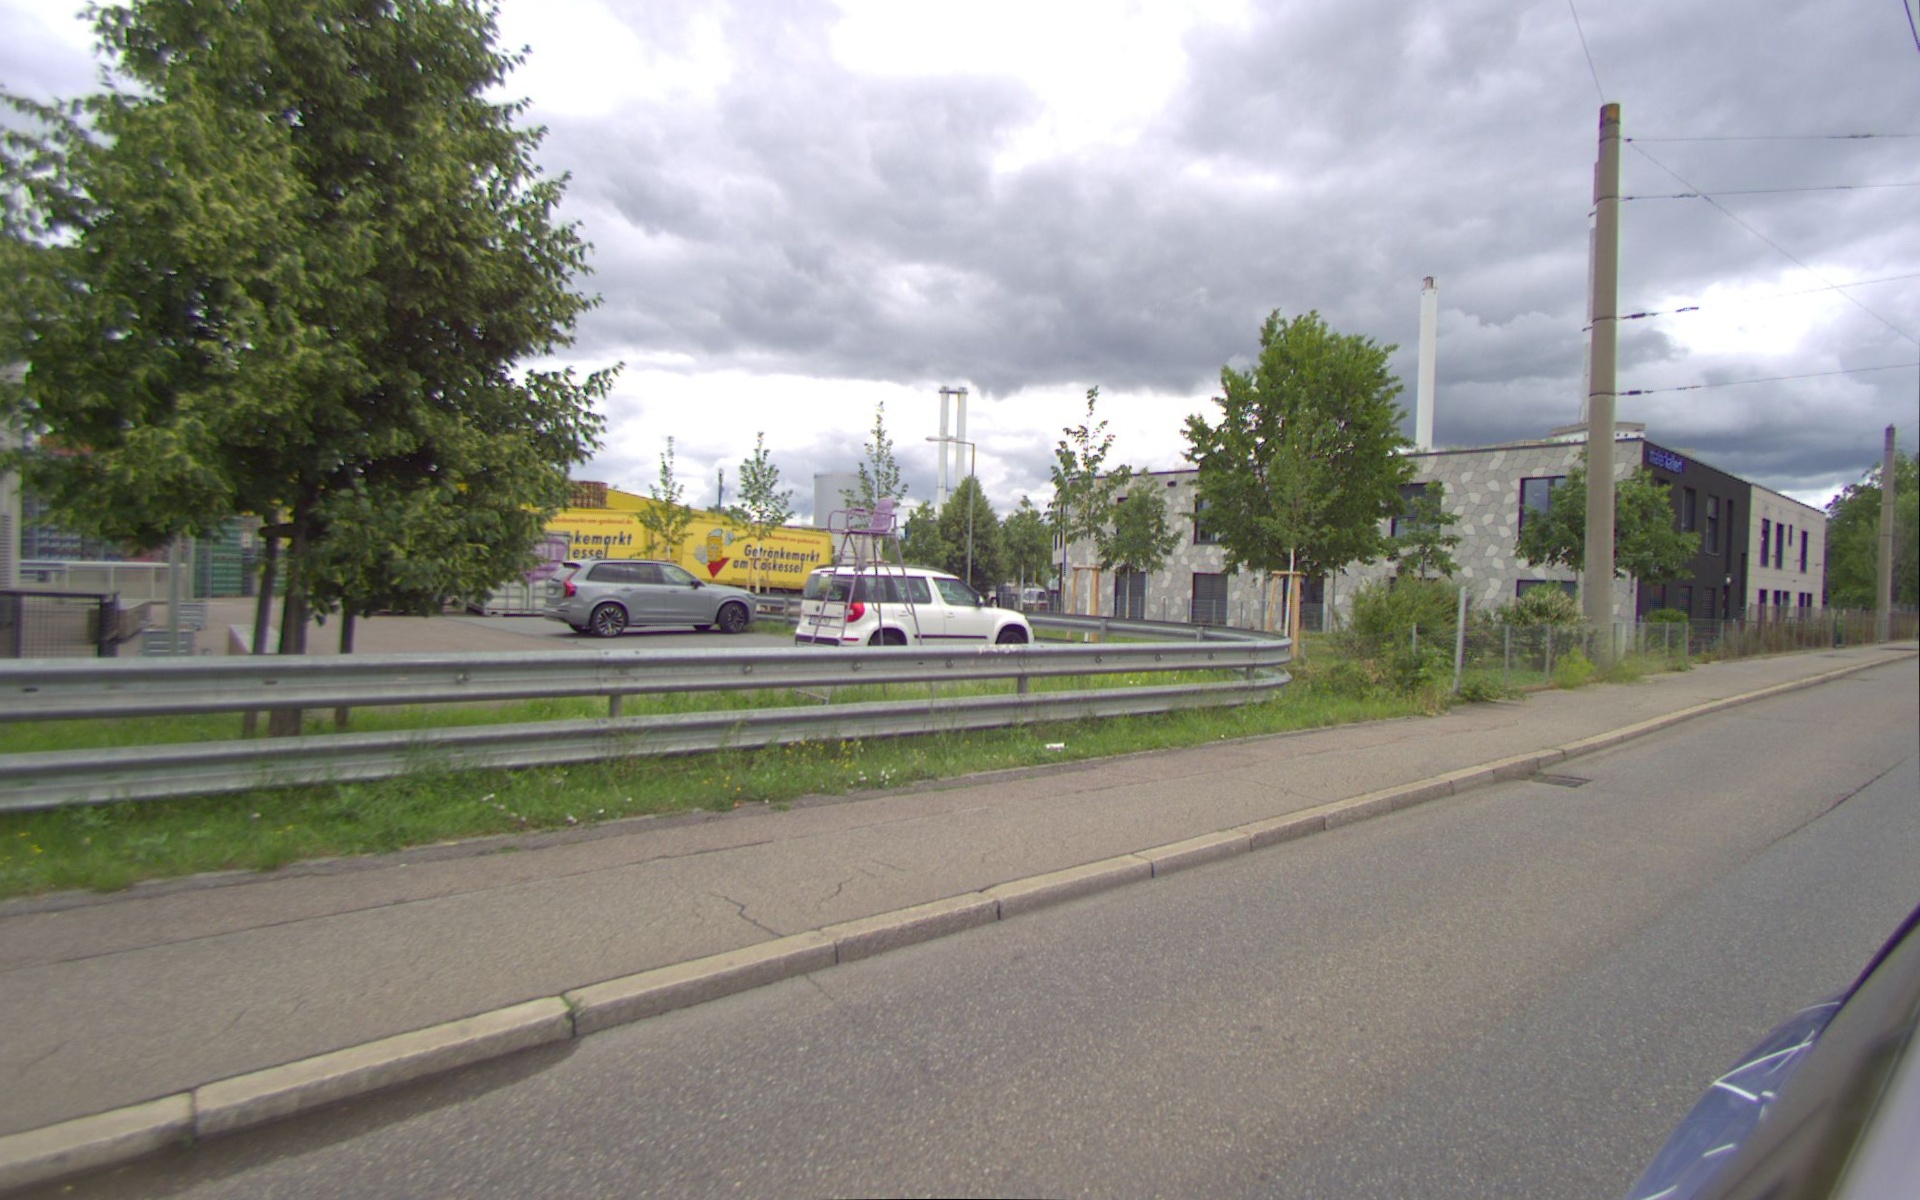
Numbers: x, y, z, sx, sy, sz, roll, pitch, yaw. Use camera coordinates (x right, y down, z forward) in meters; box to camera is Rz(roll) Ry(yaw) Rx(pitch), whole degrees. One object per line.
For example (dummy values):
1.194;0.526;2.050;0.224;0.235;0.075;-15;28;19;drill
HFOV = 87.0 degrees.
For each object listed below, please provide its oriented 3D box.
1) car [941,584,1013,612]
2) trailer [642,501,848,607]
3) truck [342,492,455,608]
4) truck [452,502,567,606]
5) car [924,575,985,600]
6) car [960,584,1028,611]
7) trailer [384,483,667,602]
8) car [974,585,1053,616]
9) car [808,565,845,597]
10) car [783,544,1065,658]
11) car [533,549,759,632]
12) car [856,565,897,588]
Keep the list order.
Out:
1.040;-0.146;63.233;4.291;1.604;2.001;2;1;-2;car
-9.395;-1.918;45.088;8.548;4.123;2.943;2;1;-43;trailer
-16.892;-1.296;30.841;2.302;3.076;7.784;0;0;-24;truck
-15.257;-1.353;33.952;2.571;3.076;7.776;0;0;-31;truck
-0.432;-0.927;73.850;4.291;1.604;2.001;2;1;-2;car
2.211;-0.189;67.148;4.291;1.604;2.001;2;1;-2;car
-16.802;-2.165;39.993;9.812;4.012;2.926;2;1;-14;trailer
3.059;0.031;58.336;4.291;1.604;2.001;2;1;-2;car
-11.941;-1.695;90.924;1.969;2.724;4.361;2;1;12;car
-0.468;0.054;16.173;4.351;1.594;1.752;2;-1;-41;car
-7.194;-0.205;23.451;4.602;1.741;1.917;1;1;-38;car
-6.498;-1.802;79.026;1.970;1.605;4.359;0;0;13;car
